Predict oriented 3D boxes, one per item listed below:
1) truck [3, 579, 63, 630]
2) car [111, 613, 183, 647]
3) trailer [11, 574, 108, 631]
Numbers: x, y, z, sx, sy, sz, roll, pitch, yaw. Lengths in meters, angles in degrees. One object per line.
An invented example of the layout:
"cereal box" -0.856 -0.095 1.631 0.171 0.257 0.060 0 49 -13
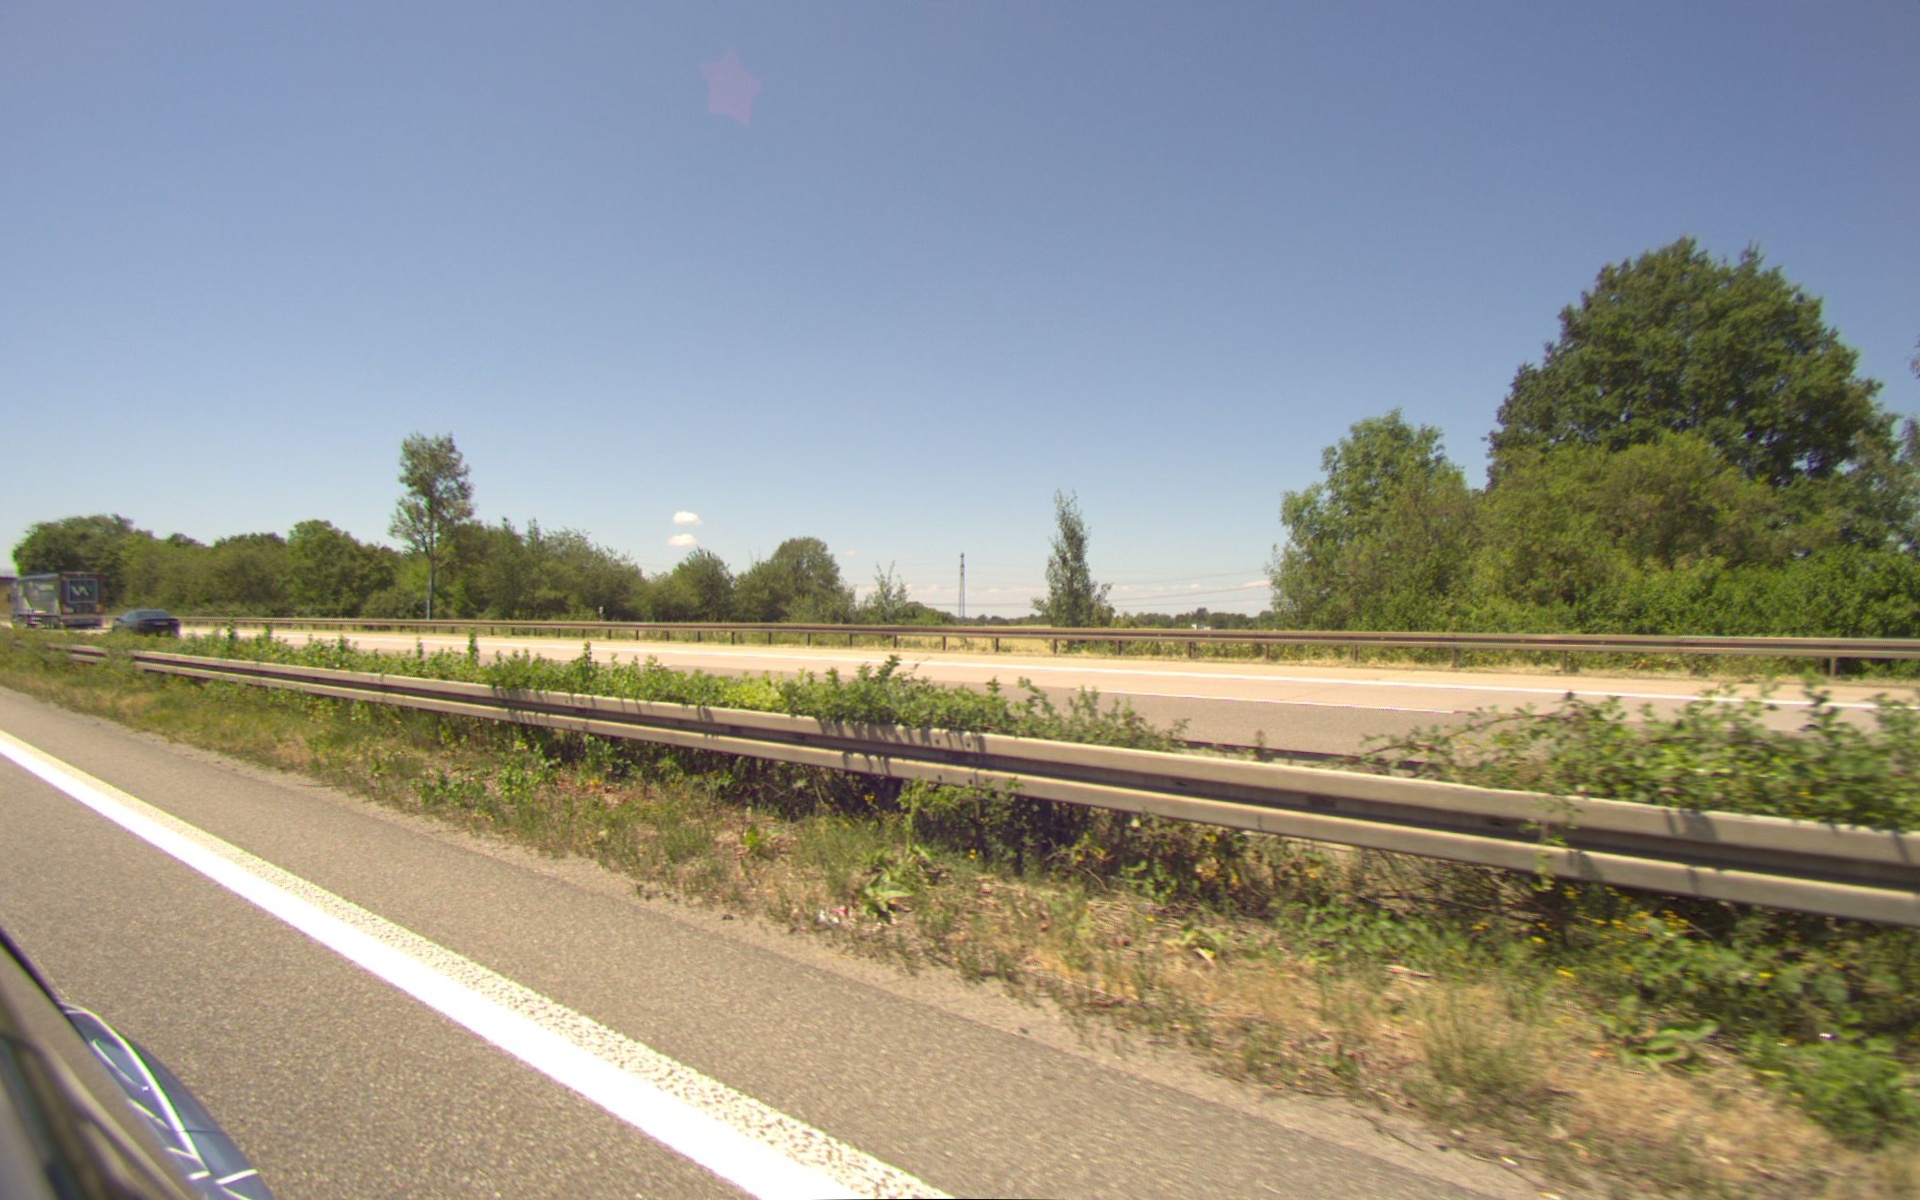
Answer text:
"truck" -73.829 0.380 80.608 3.993 3.945 2.867 -1 -1 37
"car" -38.310 1.394 47.658 4.496 1.529 1.764 -1 -1 39
"trailer" -67.918 0.270 76.160 14.034 3.978 2.853 -1 -1 37
